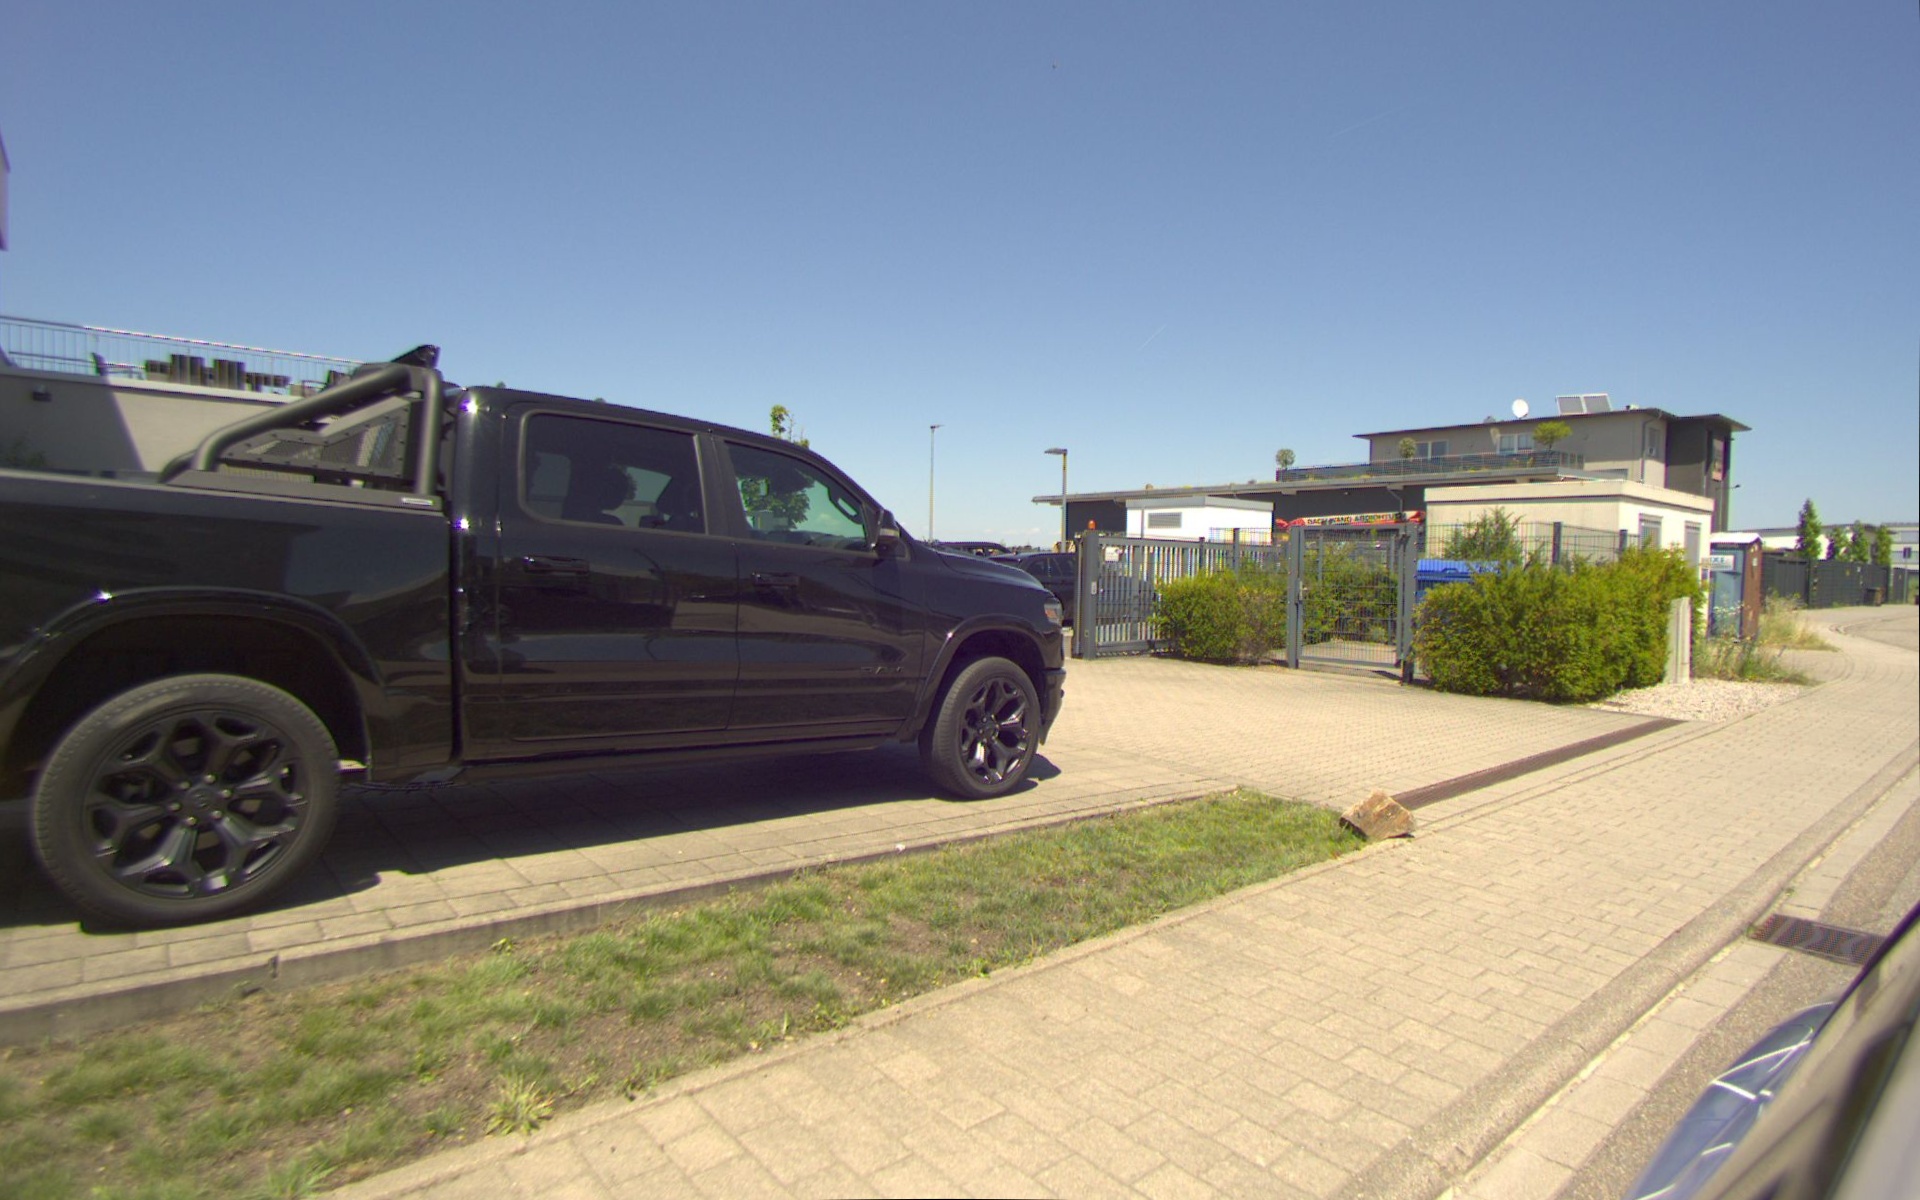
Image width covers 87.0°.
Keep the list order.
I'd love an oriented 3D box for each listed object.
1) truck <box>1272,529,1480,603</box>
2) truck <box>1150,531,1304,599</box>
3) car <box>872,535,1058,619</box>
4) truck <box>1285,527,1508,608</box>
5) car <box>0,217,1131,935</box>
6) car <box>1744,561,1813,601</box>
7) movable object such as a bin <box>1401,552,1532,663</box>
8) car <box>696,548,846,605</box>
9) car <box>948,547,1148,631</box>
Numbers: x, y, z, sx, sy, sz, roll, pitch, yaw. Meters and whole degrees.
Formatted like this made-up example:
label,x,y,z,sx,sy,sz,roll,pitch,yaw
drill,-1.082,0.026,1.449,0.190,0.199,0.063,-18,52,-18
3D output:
label,x,y,z,sx,sy,sz,roll,pitch,yaw
truck,19.505,-1.620,48.098,2.642,3.216,8.964,-1,2,-39
truck,12.687,-1.677,48.592,2.452,3.059,7.025,-1,2,-39
car,0.172,-0.591,22.696,3.931,1.698,1.859,-3,4,-41
truck,18.086,-1.372,42.526,2.578,3.059,8.352,-1,2,-39
car,-1.749,-0.043,5.118,5.699,2.039,1.997,2,1,-42
car,38.956,-0.927,48.158,3.932,1.816,1.927,-1,3,-42
movable object such as a bin,7.566,0.074,15.148,1.150,1.541,1.386,0,3,-41
car,-5.486,-0.745,29.606,3.931,1.523,1.859,-3,4,-41
car,1.854,-0.312,20.583,3.931,1.507,1.859,-3,4,-41
